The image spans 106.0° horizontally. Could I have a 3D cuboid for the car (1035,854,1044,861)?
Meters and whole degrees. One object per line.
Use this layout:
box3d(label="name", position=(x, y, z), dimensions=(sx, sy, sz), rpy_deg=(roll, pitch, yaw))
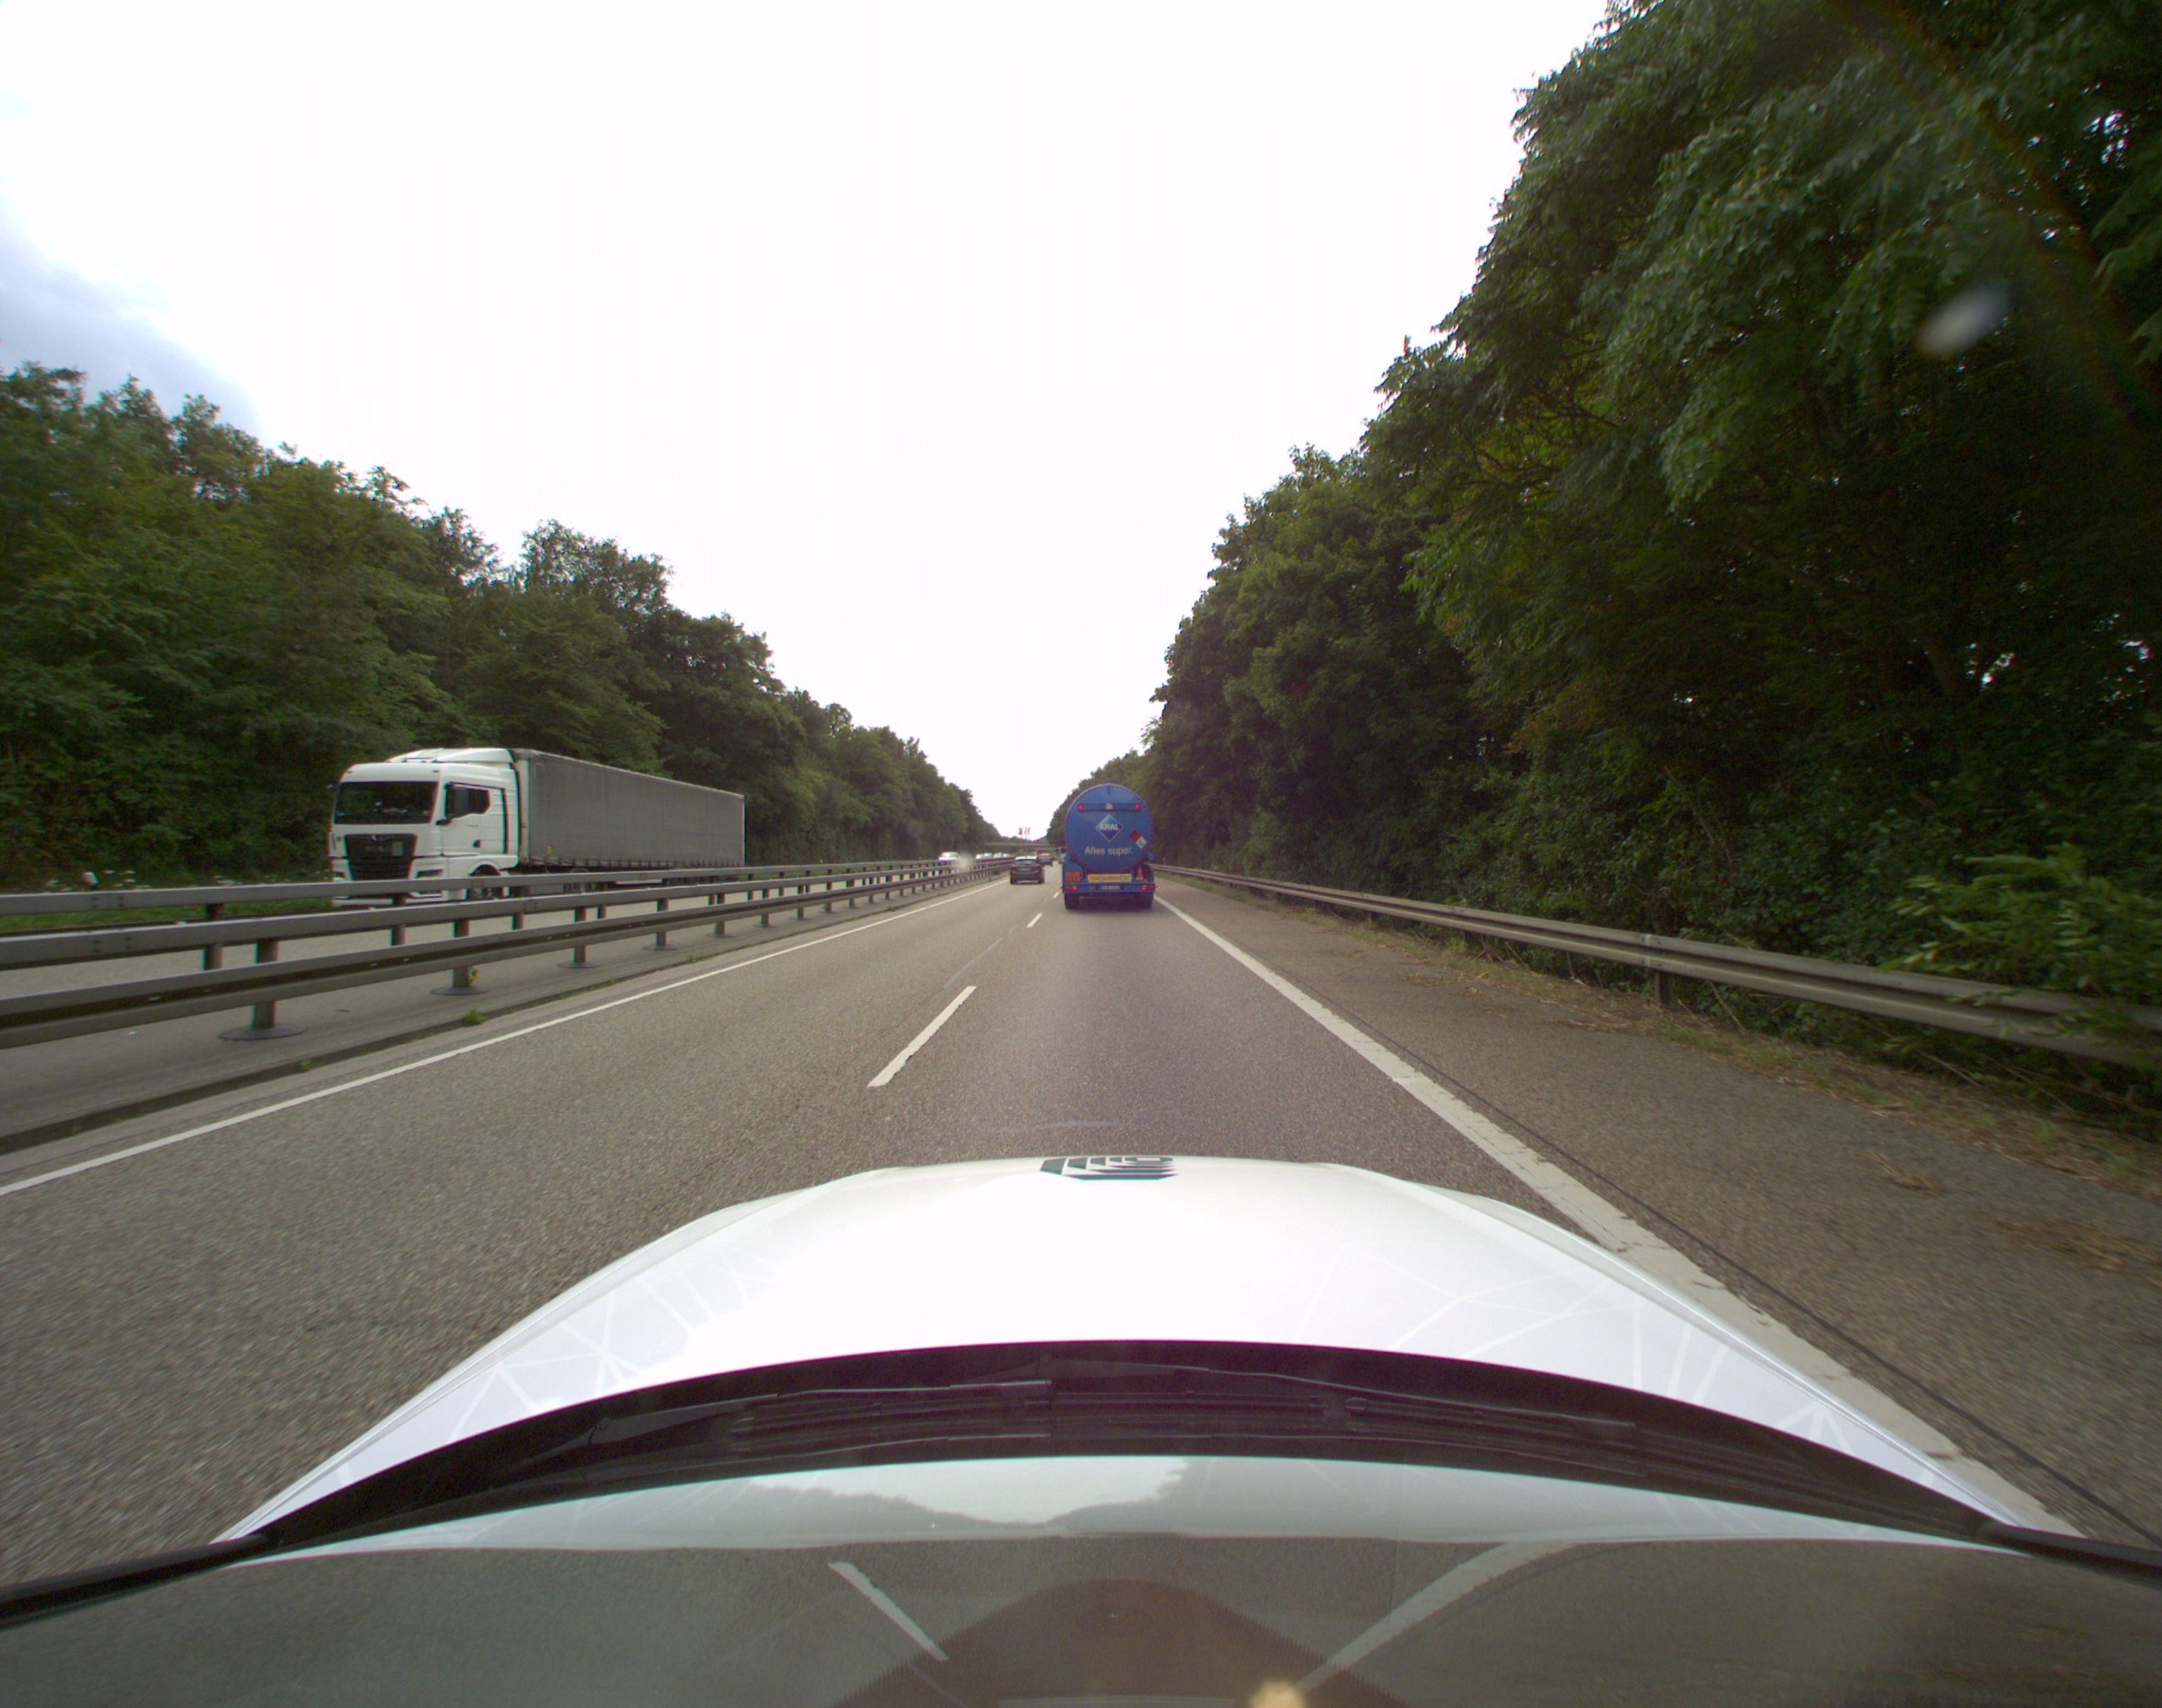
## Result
box3d(label="car", position=(-9.888, 0.833, 196.193), dimensions=(1.949, 1.567, 3.999), rpy_deg=(-1, 0, 0))

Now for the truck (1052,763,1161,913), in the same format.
box3d(label="truck", position=(0.802, -0.427, 24.990), dimensions=(2.744, 3.846, 7.693), rpy_deg=(-1, 0, 2))

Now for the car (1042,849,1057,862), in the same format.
box3d(label="car", position=(-4.037, 0.222, 104.336), dimensions=(1.822, 1.609, 4.162), rpy_deg=(-1, 0, -3))

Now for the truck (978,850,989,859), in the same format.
box3d(label="truck", position=(-19.567, 0.009, 163.278), dimensions=(1.989, 1.739, 3.996), rpy_deg=(-1, 0, -3))

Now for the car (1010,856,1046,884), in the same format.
box3d(label="car", position=(-2.838, 0.836, 44.607), dimensions=(1.821, 1.458, 4.636), rpy_deg=(-1, 0, -2))

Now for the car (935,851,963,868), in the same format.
box3d(label="car", position=(-11.702, 0.475, 72.410), dimensions=(1.637, 1.389, 4.291), rpy_deg=(-1, 0, 1))

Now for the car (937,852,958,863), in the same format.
box3d(label="car", position=(-15.752, 0.387, 96.434), dimensions=(1.736, 1.189, 4.291), rpy_deg=(-1, 0, 1))

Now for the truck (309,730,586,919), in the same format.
box3d(label="truck", position=(-15.363, -0.643, 20.335), dimensions=(2.684, 4.063, 5.322), rpy_deg=(-1, 0, 0))

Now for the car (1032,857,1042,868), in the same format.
box3d(label="car", position=(-8.469, 1.585, 156.835), dimensions=(1.989, 2.013, 3.995), rpy_deg=(-1, 0, -3))

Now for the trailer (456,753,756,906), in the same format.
box3d(label="trailer", position=(-15.273, -0.639, 28.223), dimensions=(2.655, 4.046, 12.872), rpy_deg=(-1, 0, 1))

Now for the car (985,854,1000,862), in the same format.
box3d(label="car", position=(-13.164, 0.585, 121.302), dimensions=(1.737, 1.189, 4.288), rpy_deg=(-1, 0, -1))

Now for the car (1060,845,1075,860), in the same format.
box3d(label="car", position=(-2.037, -0.230, 128.203), dimensions=(1.985, 2.244, 4.004), rpy_deg=(-1, 0, 3))

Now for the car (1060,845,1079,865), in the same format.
box3d(label="car", position=(-1.319, 0.158, 94.521), dimensions=(1.987, 2.221, 4.000), rpy_deg=(-1, 0, 0))
